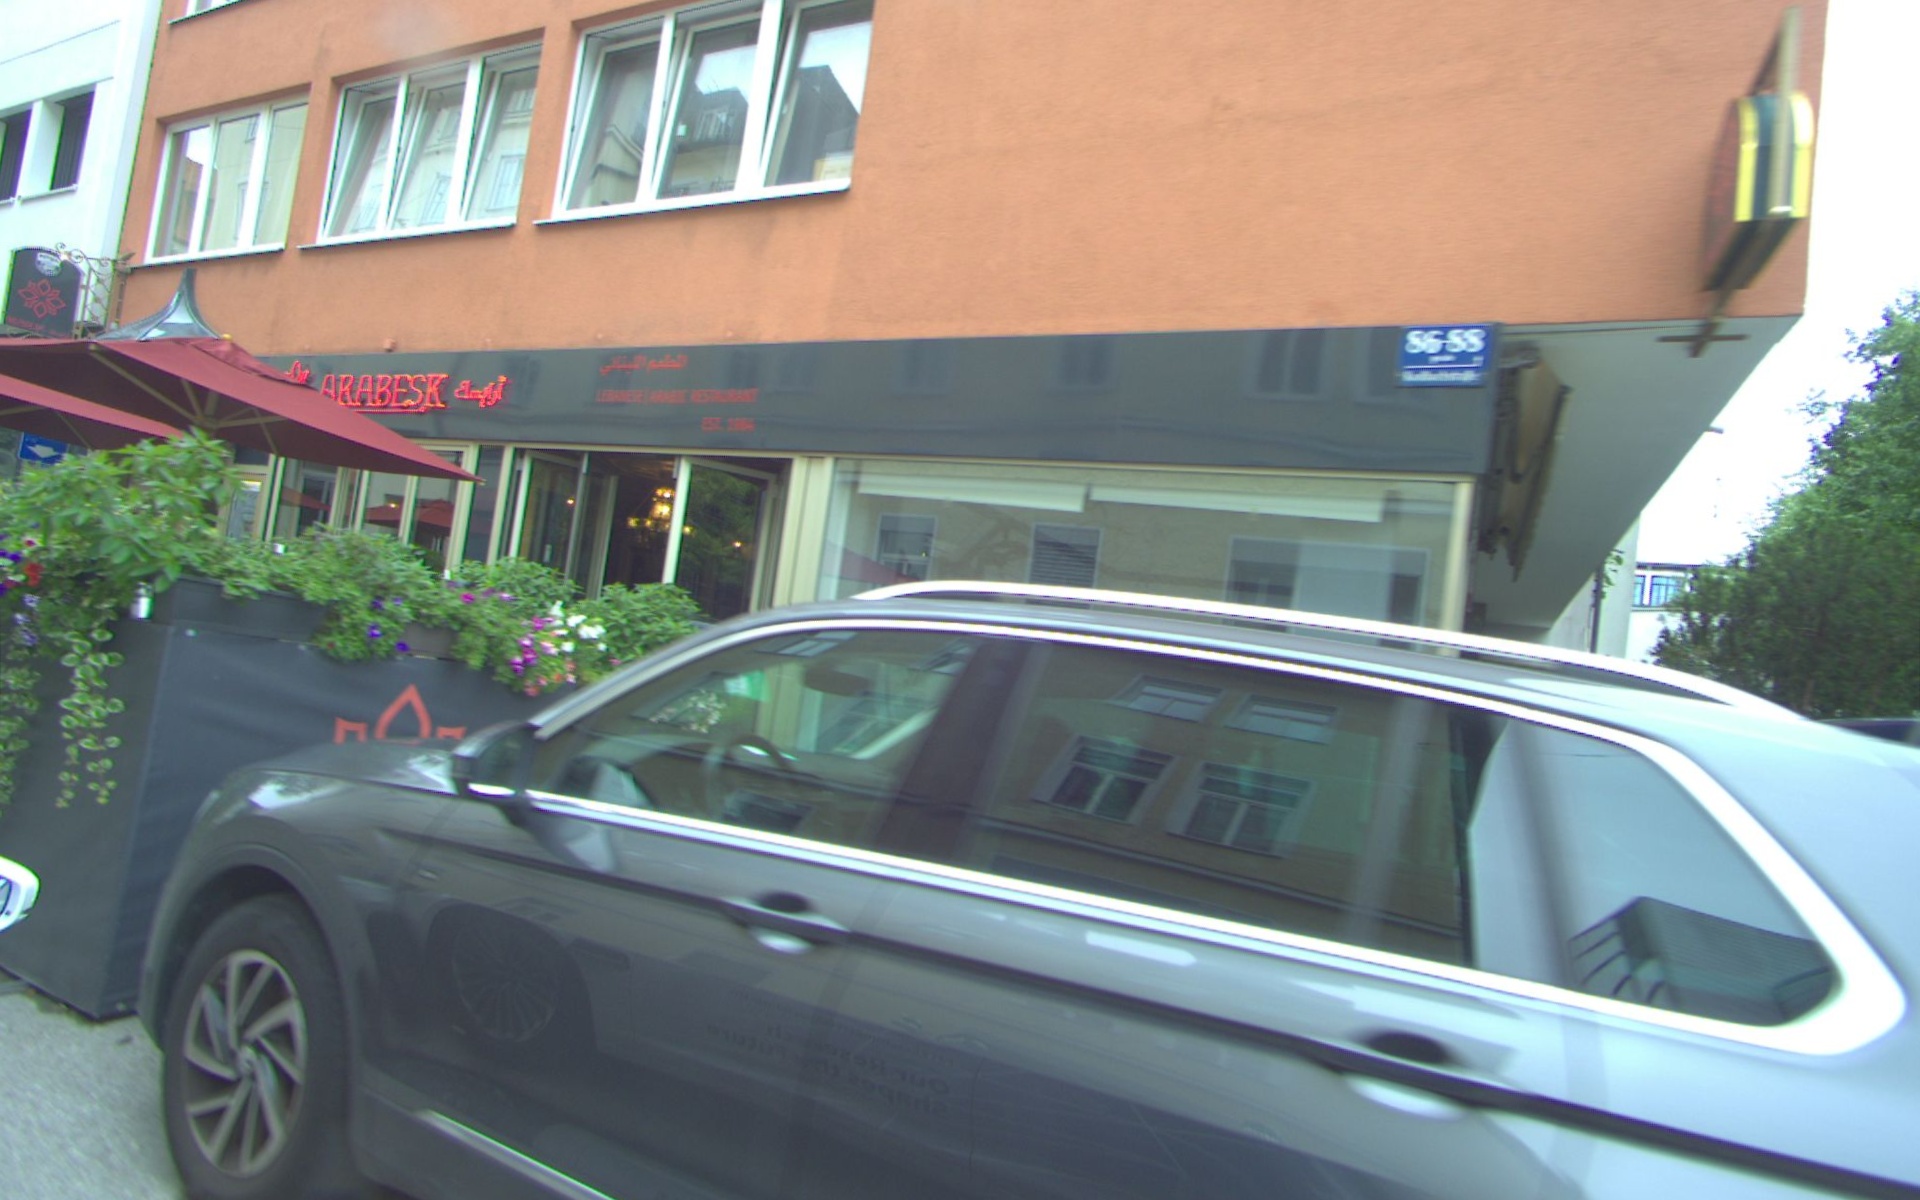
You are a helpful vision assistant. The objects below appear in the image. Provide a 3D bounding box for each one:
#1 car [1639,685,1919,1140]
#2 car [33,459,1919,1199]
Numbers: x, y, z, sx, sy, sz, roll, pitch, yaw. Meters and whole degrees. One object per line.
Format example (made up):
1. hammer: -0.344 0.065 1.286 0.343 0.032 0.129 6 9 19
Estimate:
1. car: 5.357 1.534 5.663 1.808 1.739 4.476 7 -3 27
2. car: -0.134 0.793 2.563 4.313 1.728 1.830 7 -4 29
